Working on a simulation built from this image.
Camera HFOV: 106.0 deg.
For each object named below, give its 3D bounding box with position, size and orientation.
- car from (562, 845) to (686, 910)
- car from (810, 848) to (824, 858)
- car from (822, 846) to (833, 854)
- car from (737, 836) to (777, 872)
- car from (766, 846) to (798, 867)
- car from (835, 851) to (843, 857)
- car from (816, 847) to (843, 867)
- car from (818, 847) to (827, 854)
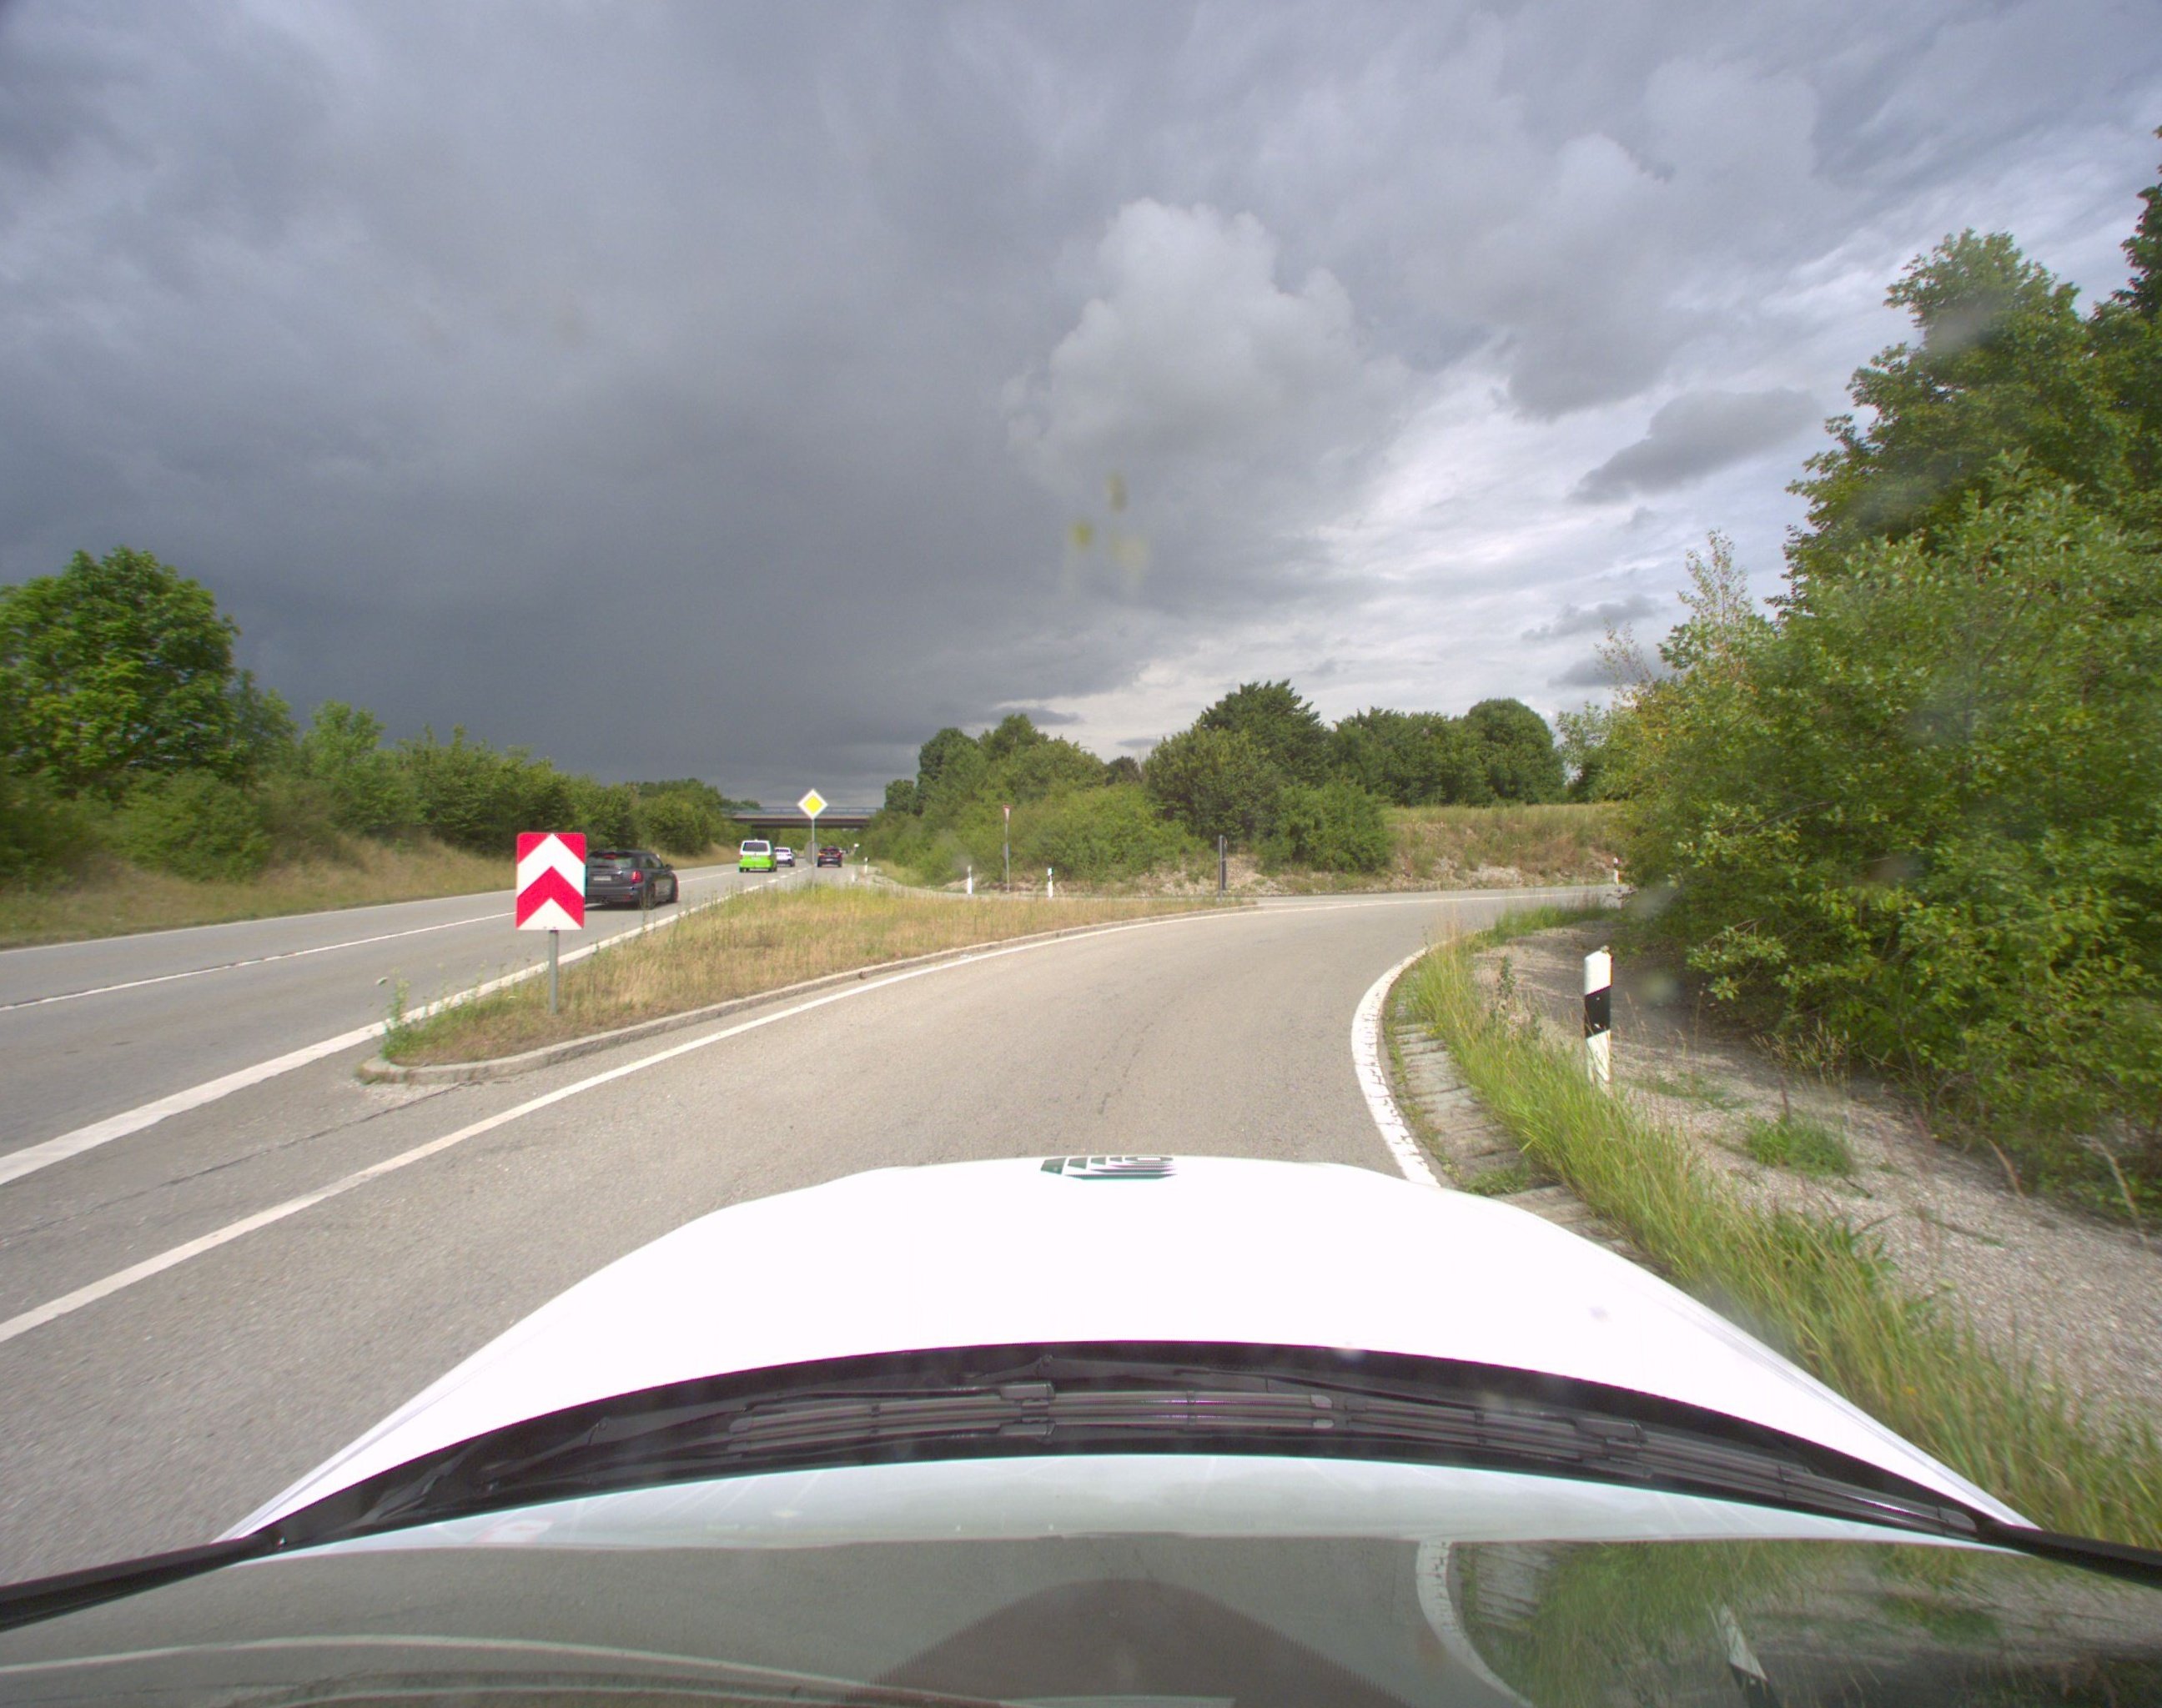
[{"bbox_3d":[-11.205,0.524,20.270,1.760,1.427,3.979,1,0,-16],"label":"car"},{"bbox_3d":[-38.585,-0.178,119.110,1.669,1.403,3.981,1,0,-14],"label":"car"},{"bbox_3d":[-46.355,-0.727,148.924,1.670,1.403,3.979,1,0,-15],"label":"car"},{"bbox_3d":[-19.888,-0.006,50.181,1.823,2.054,3.979,1,0,-16],"label":"car"},{"bbox_3d":[-23.805,0.187,64.978,1.997,1.552,3.979,1,0,-16],"label":"car"},{"bbox_3d":[-60.128,0.092,202.436,1.669,1.403,3.983,1,0,-13],"label":"car"},{"bbox_3d":[-20.525,0.206,66.554,1.999,1.552,3.976,1,0,-18],"label":"car"},{"bbox_3d":[-75.046,-1.143,236.481,1.996,2.013,3.982,0,0,-13],"label":"car"}]
